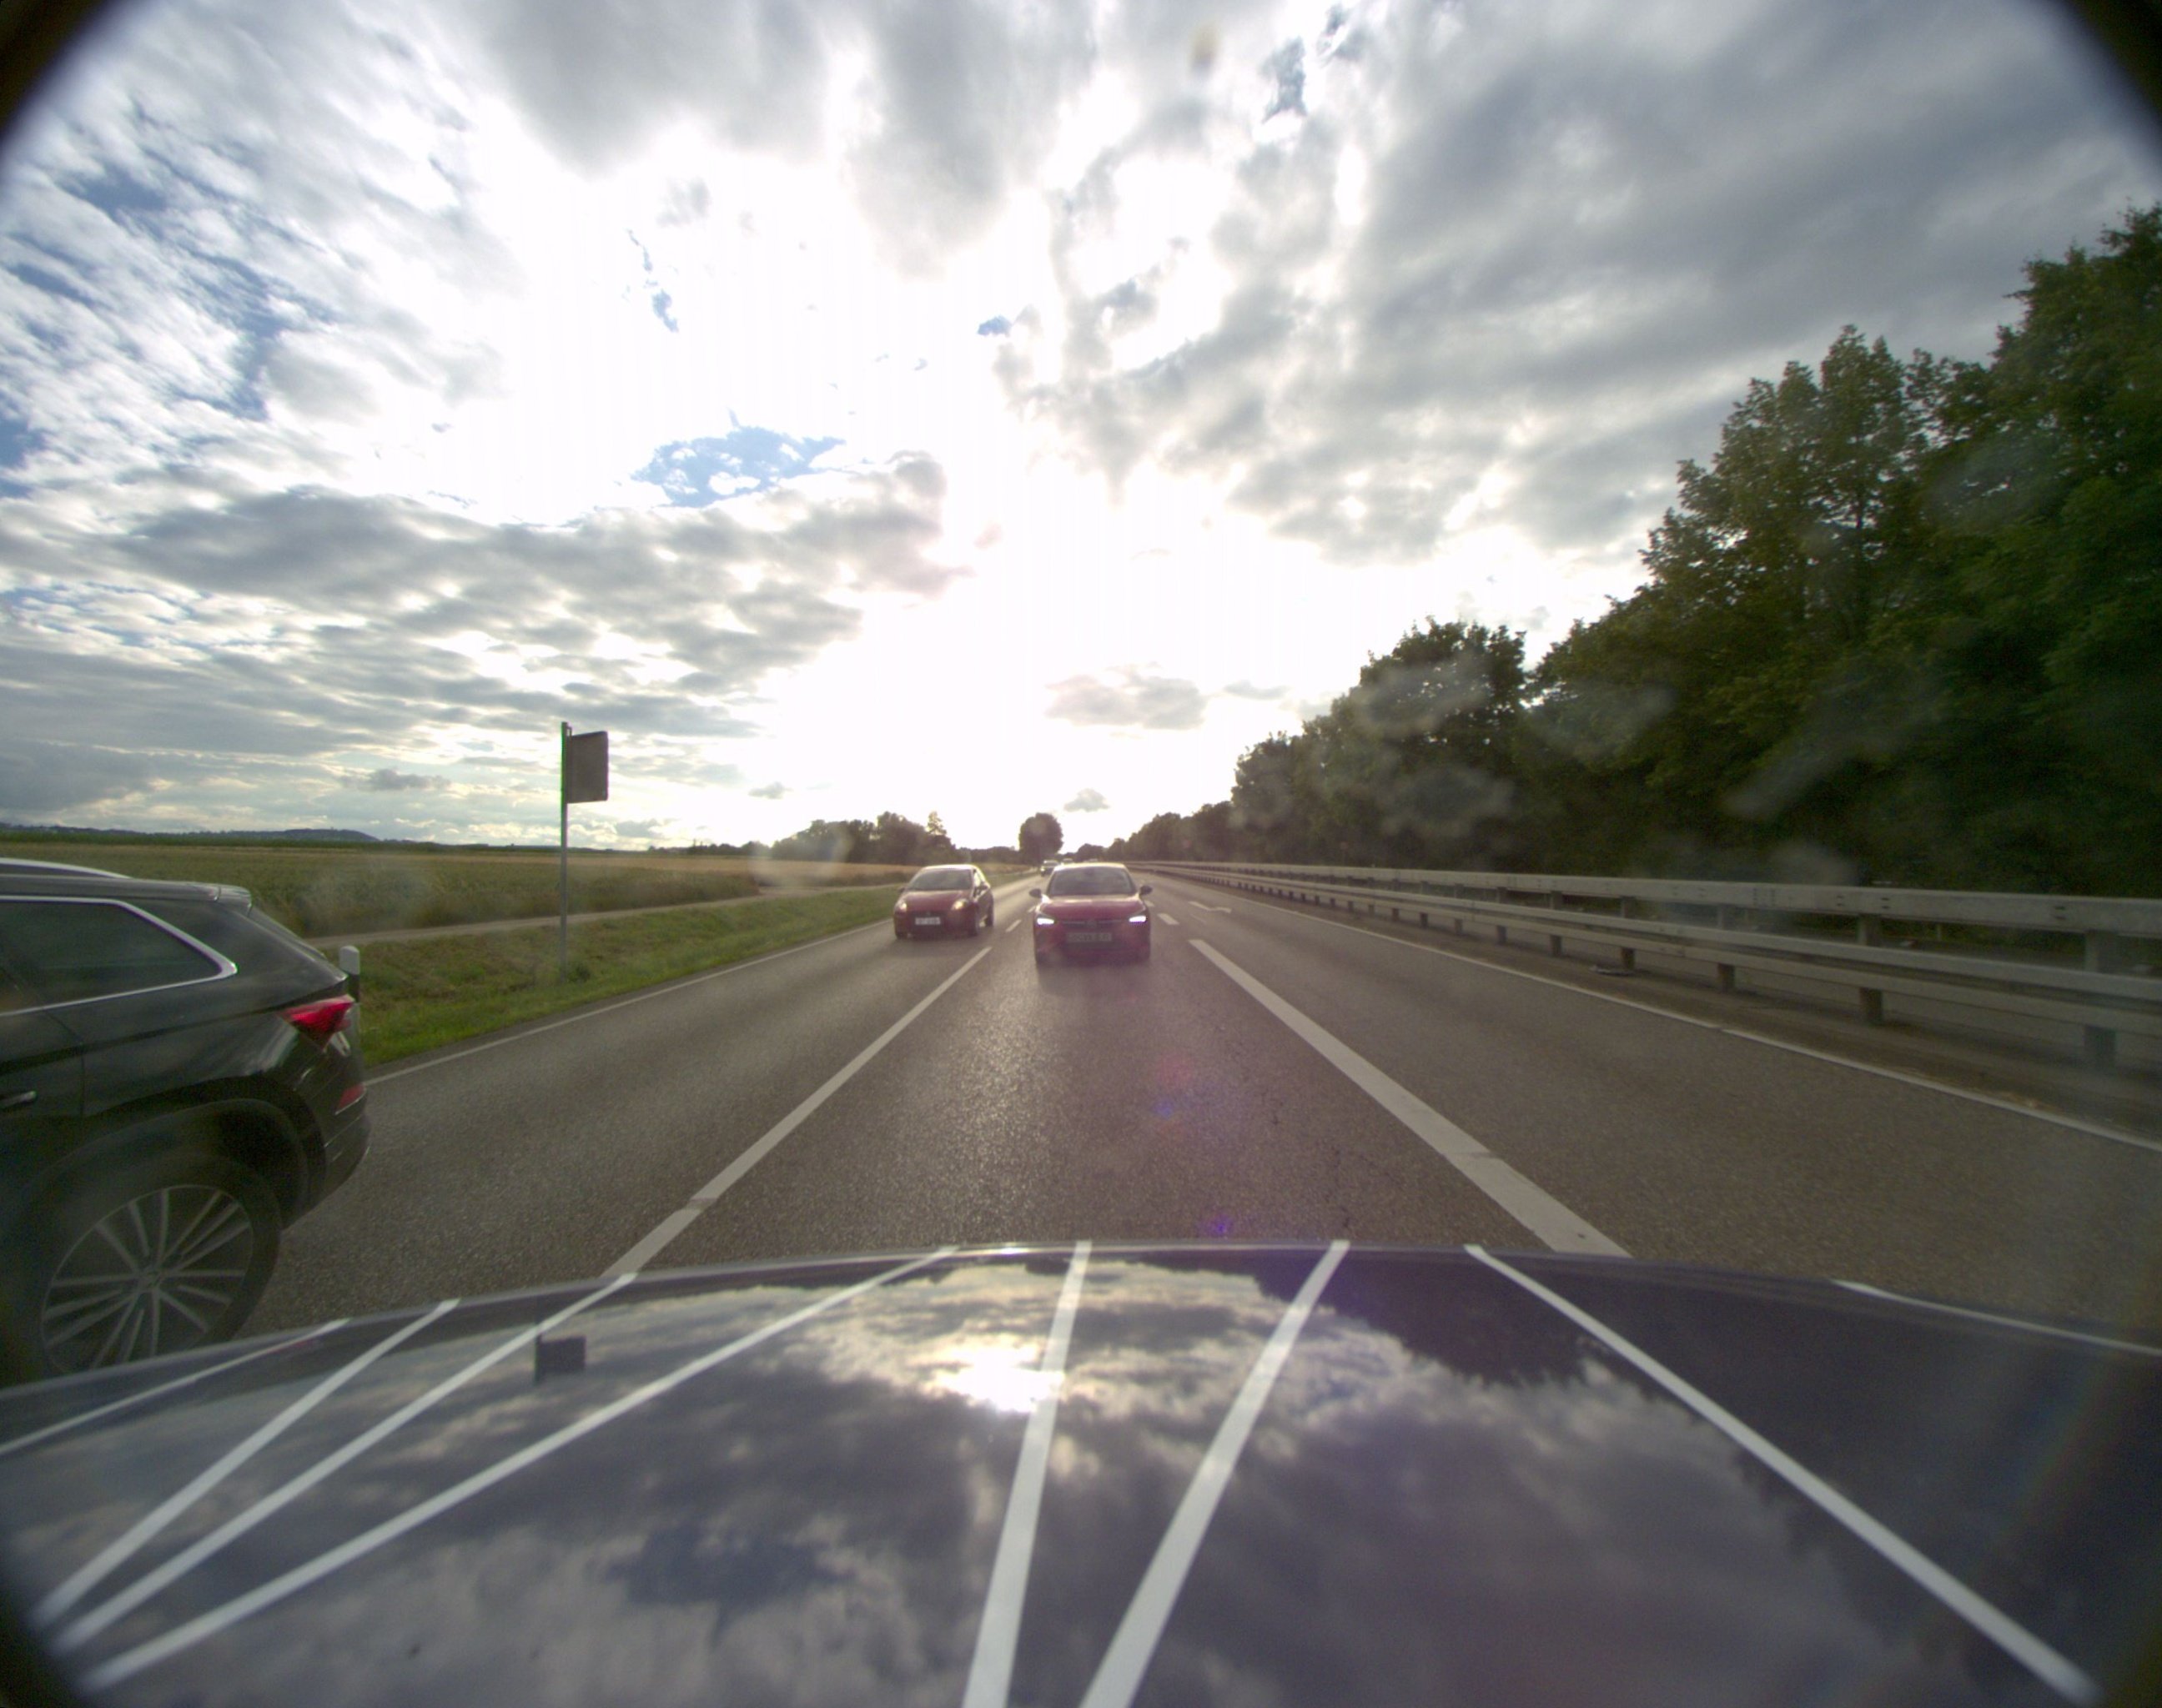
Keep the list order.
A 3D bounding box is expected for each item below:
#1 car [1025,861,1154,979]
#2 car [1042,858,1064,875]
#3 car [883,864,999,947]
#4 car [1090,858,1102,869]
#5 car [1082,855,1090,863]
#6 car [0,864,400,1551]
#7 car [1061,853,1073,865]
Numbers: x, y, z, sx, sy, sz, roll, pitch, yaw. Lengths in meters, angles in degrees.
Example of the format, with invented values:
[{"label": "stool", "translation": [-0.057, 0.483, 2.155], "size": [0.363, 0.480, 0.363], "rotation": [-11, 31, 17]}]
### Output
[{"label": "car", "translation": [0.141, 0.922, 12.401], "size": [1.712, 1.448, 4.061], "rotation": [-2, 1, 1]}, {"label": "car", "translation": [-2.638, 1.140, 72.634], "size": [1.799, 1.448, 4.032], "rotation": [-2, 0, 1]}, {"label": "car", "translation": [-2.923, 1.034, 16.690], "size": [1.712, 1.448, 3.908], "rotation": [-2, 1, 1]}, {"label": "car", "translation": [2.164, 1.418, 111.707], "size": [1.712, 1.448, 4.061], "rotation": [-2, 1, 1]}, {"label": "car", "translation": [1.192, 1.131, 175.257], "size": [1.671, 1.730, 4.032], "rotation": [-2, 1, 1]}, {"label": "car", "translation": [-3.680, 0.951, 0.720], "size": [1.841, 1.698, 4.556], "rotation": [-2, 1, 1]}, {"label": "car", "translation": [-2.160, 0.765, 116.252], "size": [1.671, 1.730, 4.032], "rotation": [-2, 1, 1]}]
